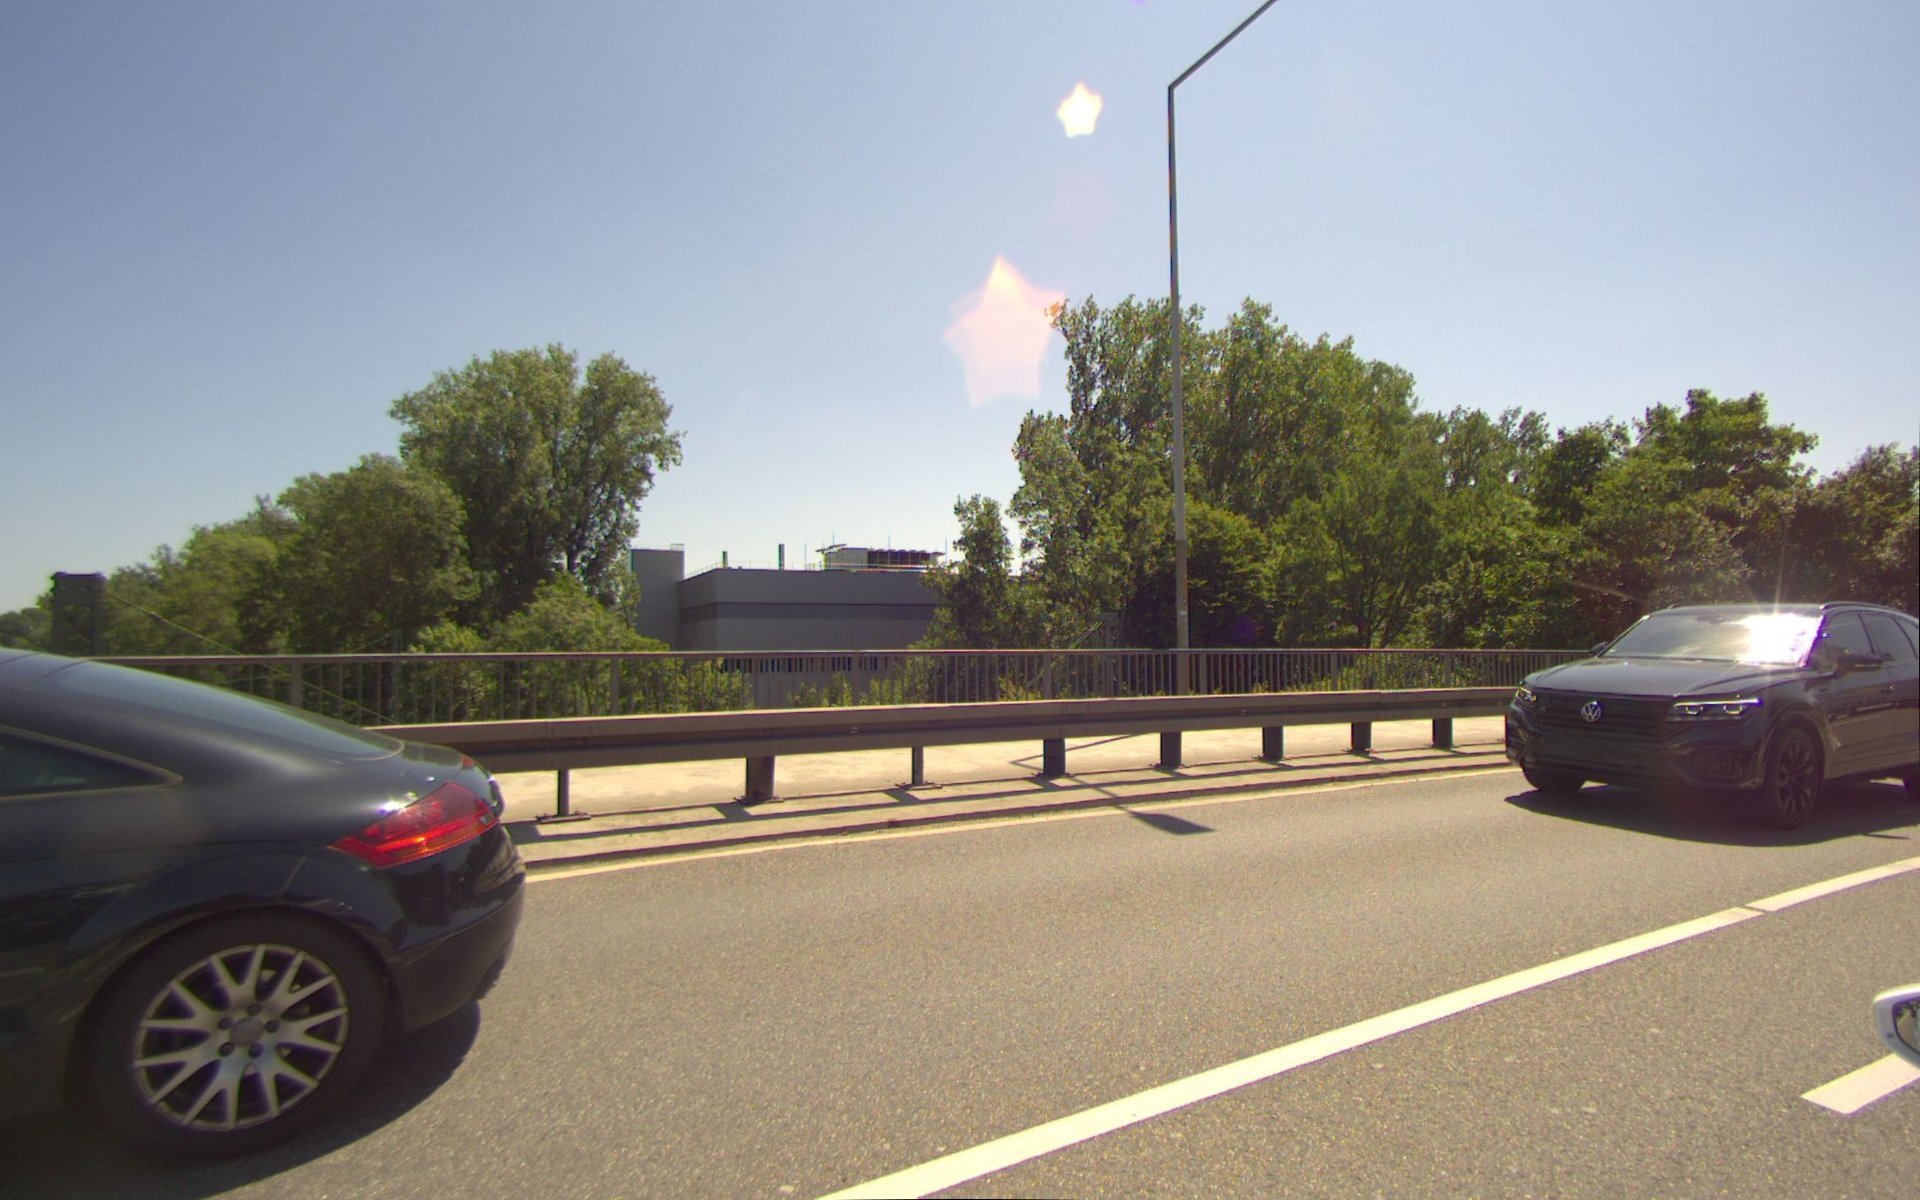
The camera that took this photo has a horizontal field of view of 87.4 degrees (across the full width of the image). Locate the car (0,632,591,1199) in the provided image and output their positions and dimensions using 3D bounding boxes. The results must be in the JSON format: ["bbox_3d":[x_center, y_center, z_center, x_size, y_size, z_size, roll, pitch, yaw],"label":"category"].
[{"bbox_3d":[-3.233,0.765,2.727,3.930,1.325,1.669,2,-1,-33],"label":"car"}]

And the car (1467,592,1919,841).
[{"bbox_3d":[6.793,0.859,8.765,4.554,1.695,1.959,1,-1,-27],"label":"car"}]
